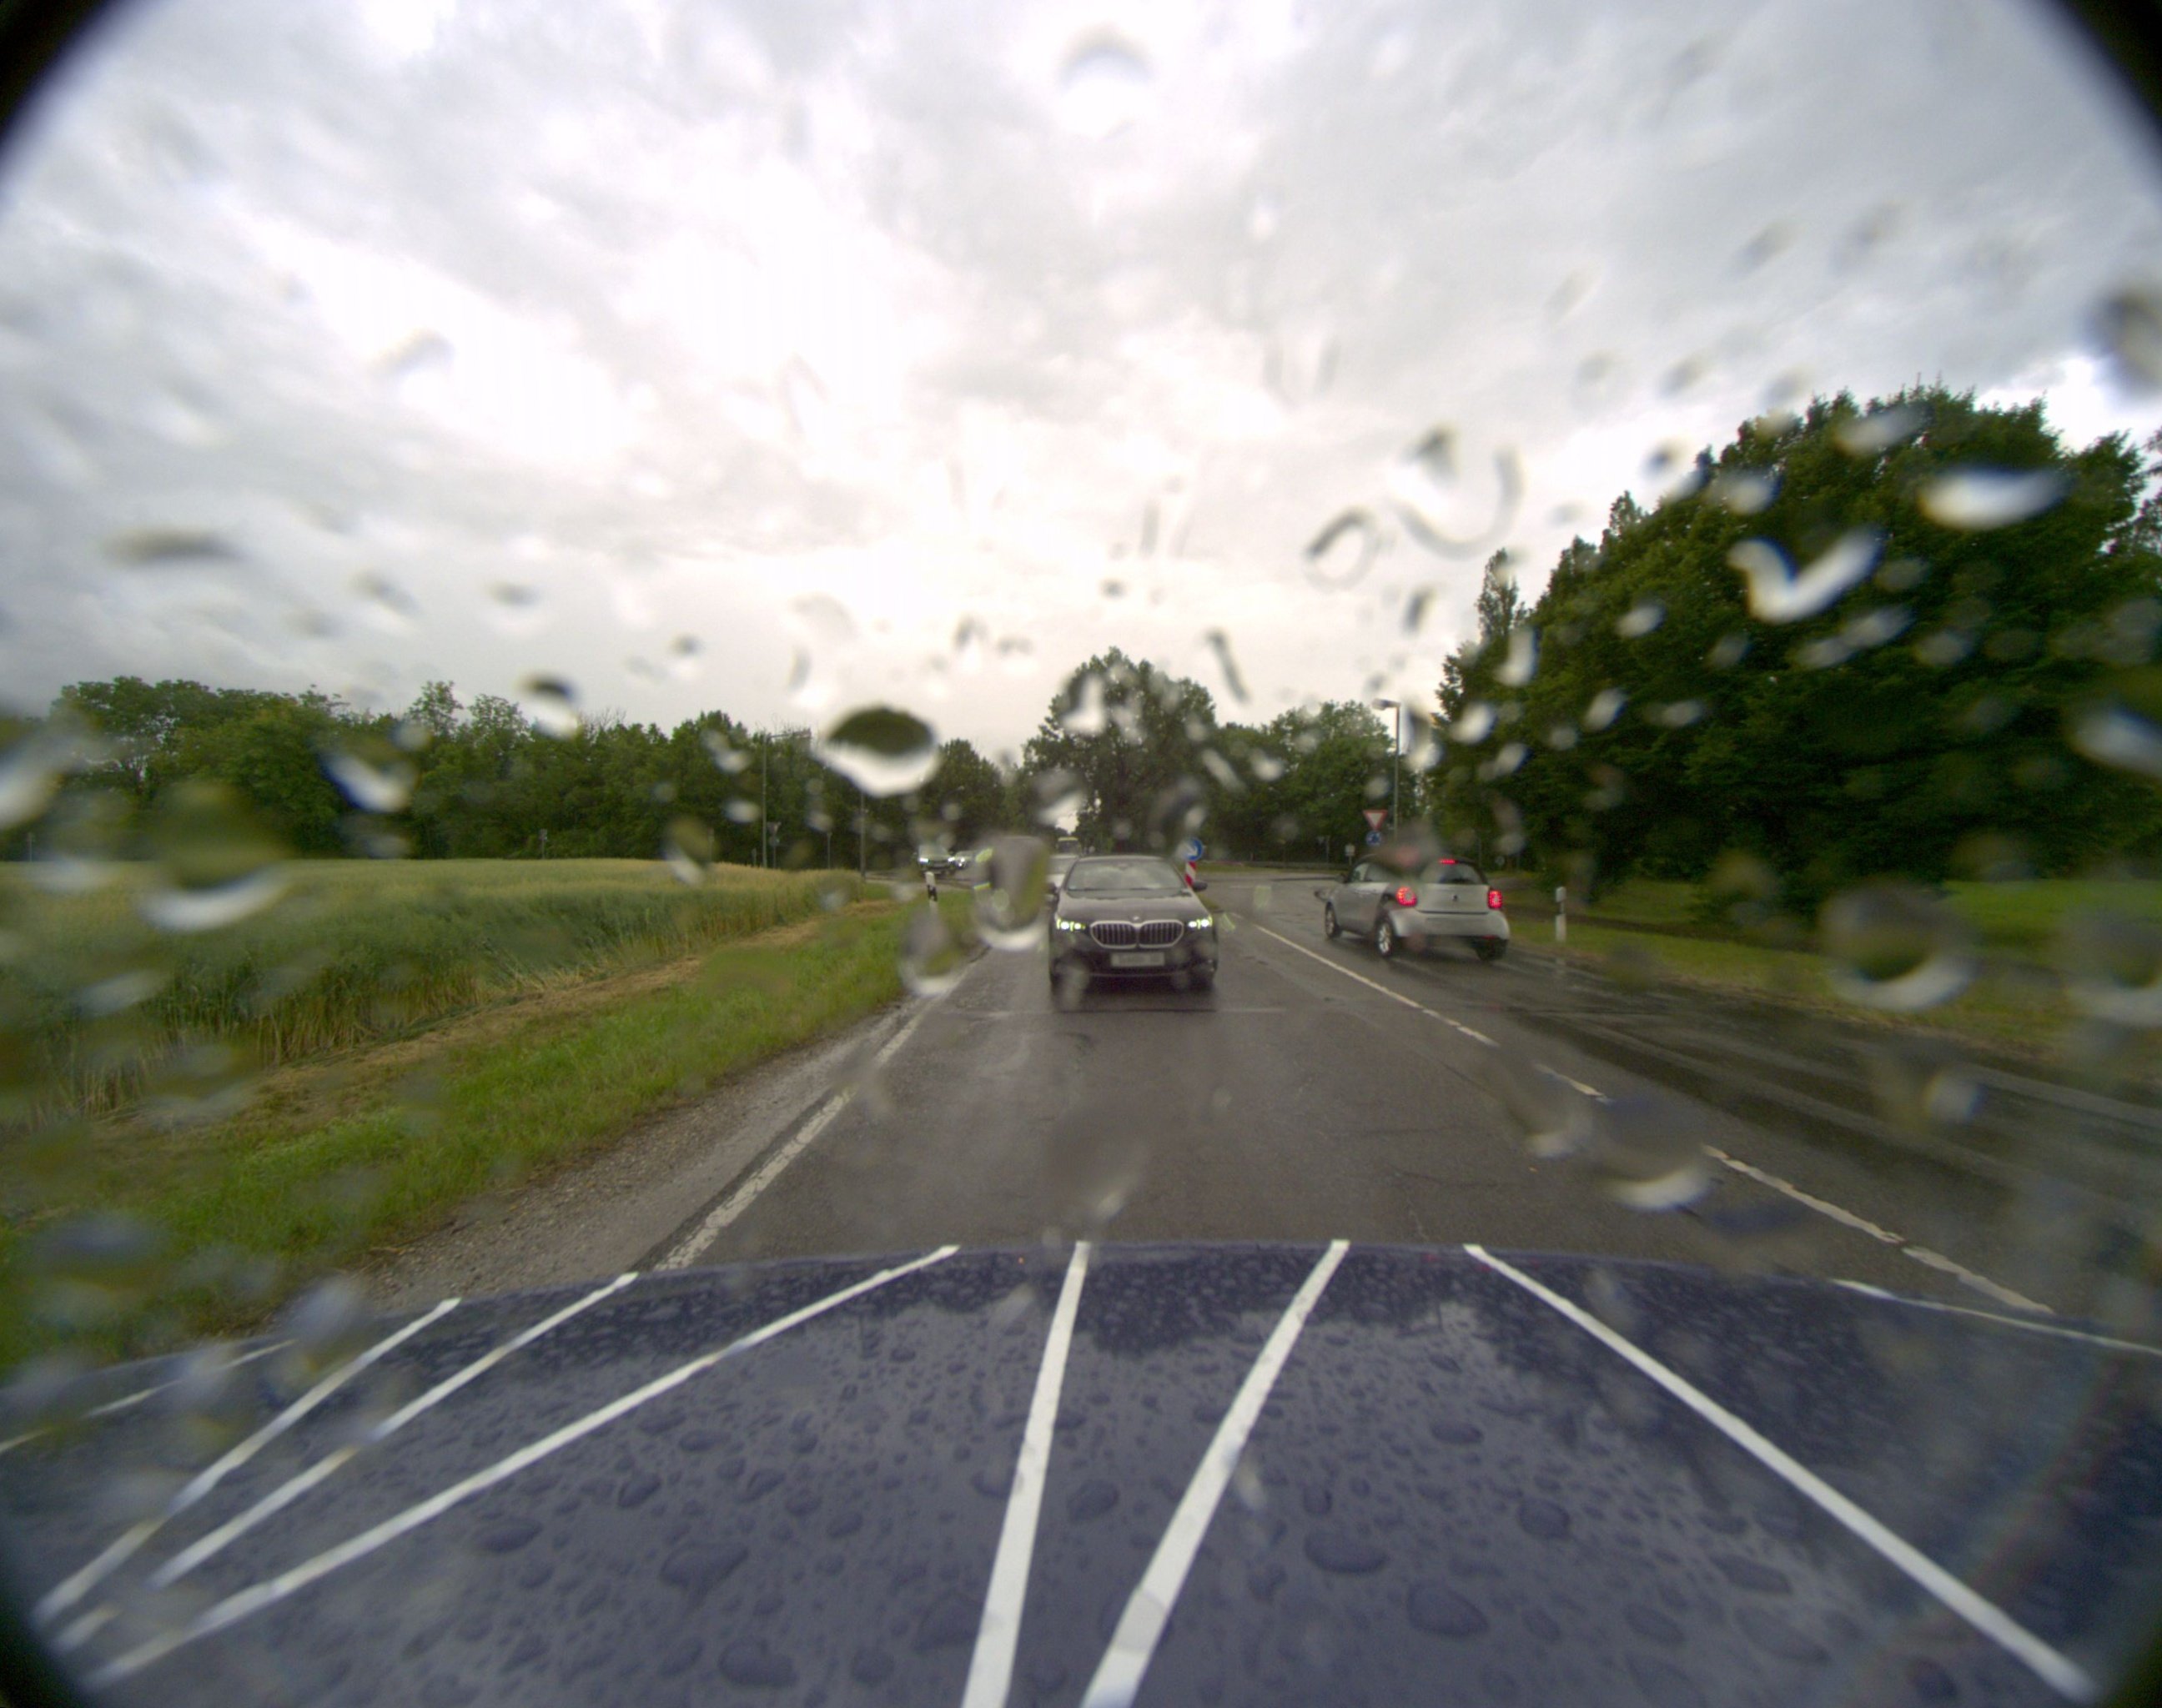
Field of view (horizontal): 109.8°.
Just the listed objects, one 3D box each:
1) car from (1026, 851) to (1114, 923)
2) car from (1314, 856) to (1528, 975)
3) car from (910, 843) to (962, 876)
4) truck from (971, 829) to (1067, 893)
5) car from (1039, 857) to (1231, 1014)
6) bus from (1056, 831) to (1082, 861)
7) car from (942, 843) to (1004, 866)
[{"bbox_3d":[-0.388,0.723,19.017,1.892,1.482,4.189,-1,1,-5],"label":"car"},{"bbox_3d":[5.088,0.817,11.969,1.680,1.490,3.734,2,1,0],"label":"car"},{"bbox_3d":[-7.500,0.252,38.814,1.894,1.522,5.247,-2,1,-18],"label":"car"},{"bbox_3d":[-2.445,0.172,28.326,2.079,2.050,5.759,-3,2,-19],"label":"truck"},{"bbox_3d":[0.517,0.825,9.625,1.892,1.484,4.035,-1,1,-1],"label":"car"},{"bbox_3d":[-1.397,-1.048,99.545,2.996,3.665,14.293,1,1,1],"label":"bus"},{"bbox_3d":[-7.508,0.008,53.051,1.888,1.522,4.510,-1,1,30],"label":"car"}]
